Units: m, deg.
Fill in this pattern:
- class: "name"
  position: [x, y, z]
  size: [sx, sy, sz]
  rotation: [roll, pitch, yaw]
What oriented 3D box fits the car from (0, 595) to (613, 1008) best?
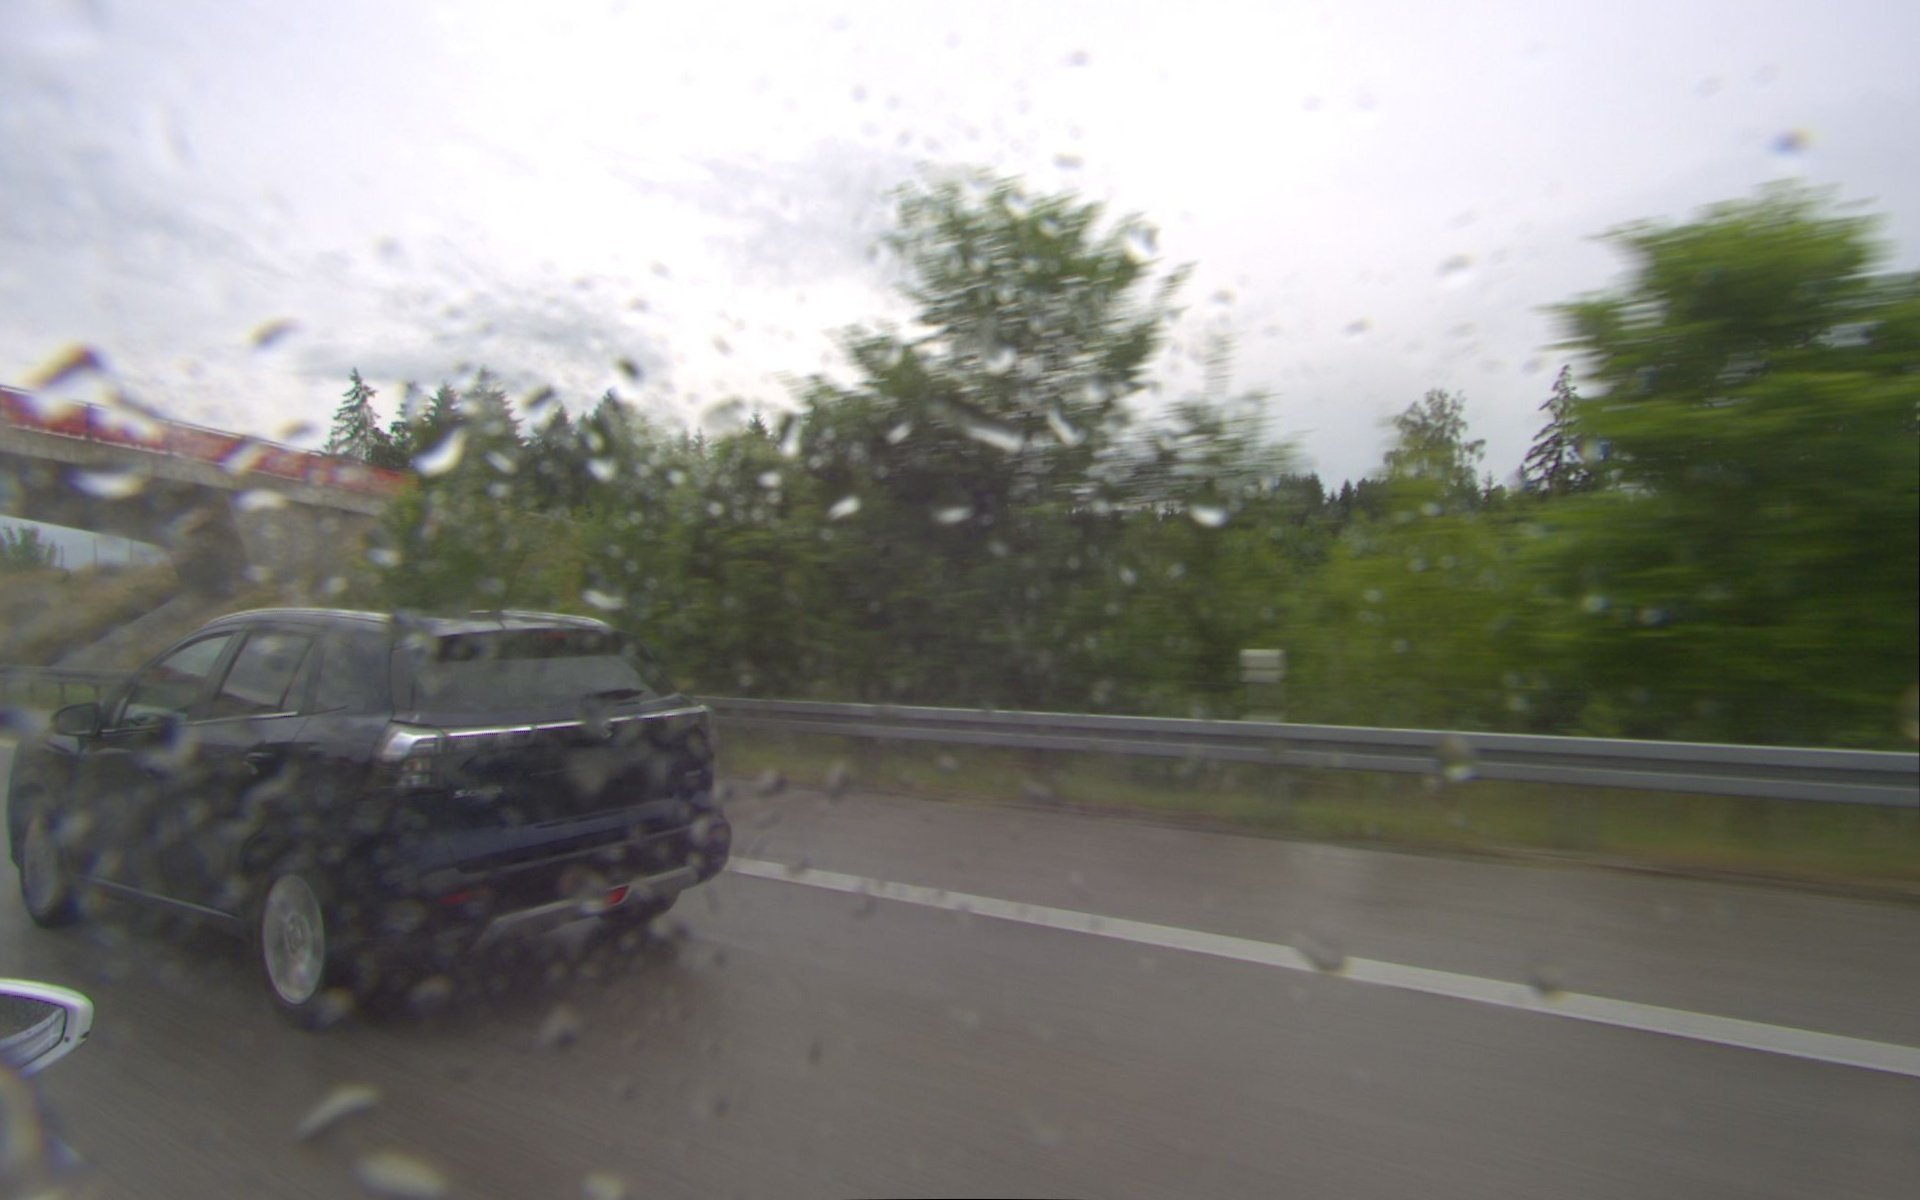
- class: "car"
  position: [-3.917, 0.824, 5.639]
  size: [3.579, 1.596, 1.891]
  rotation: [-1, -2, 32]
